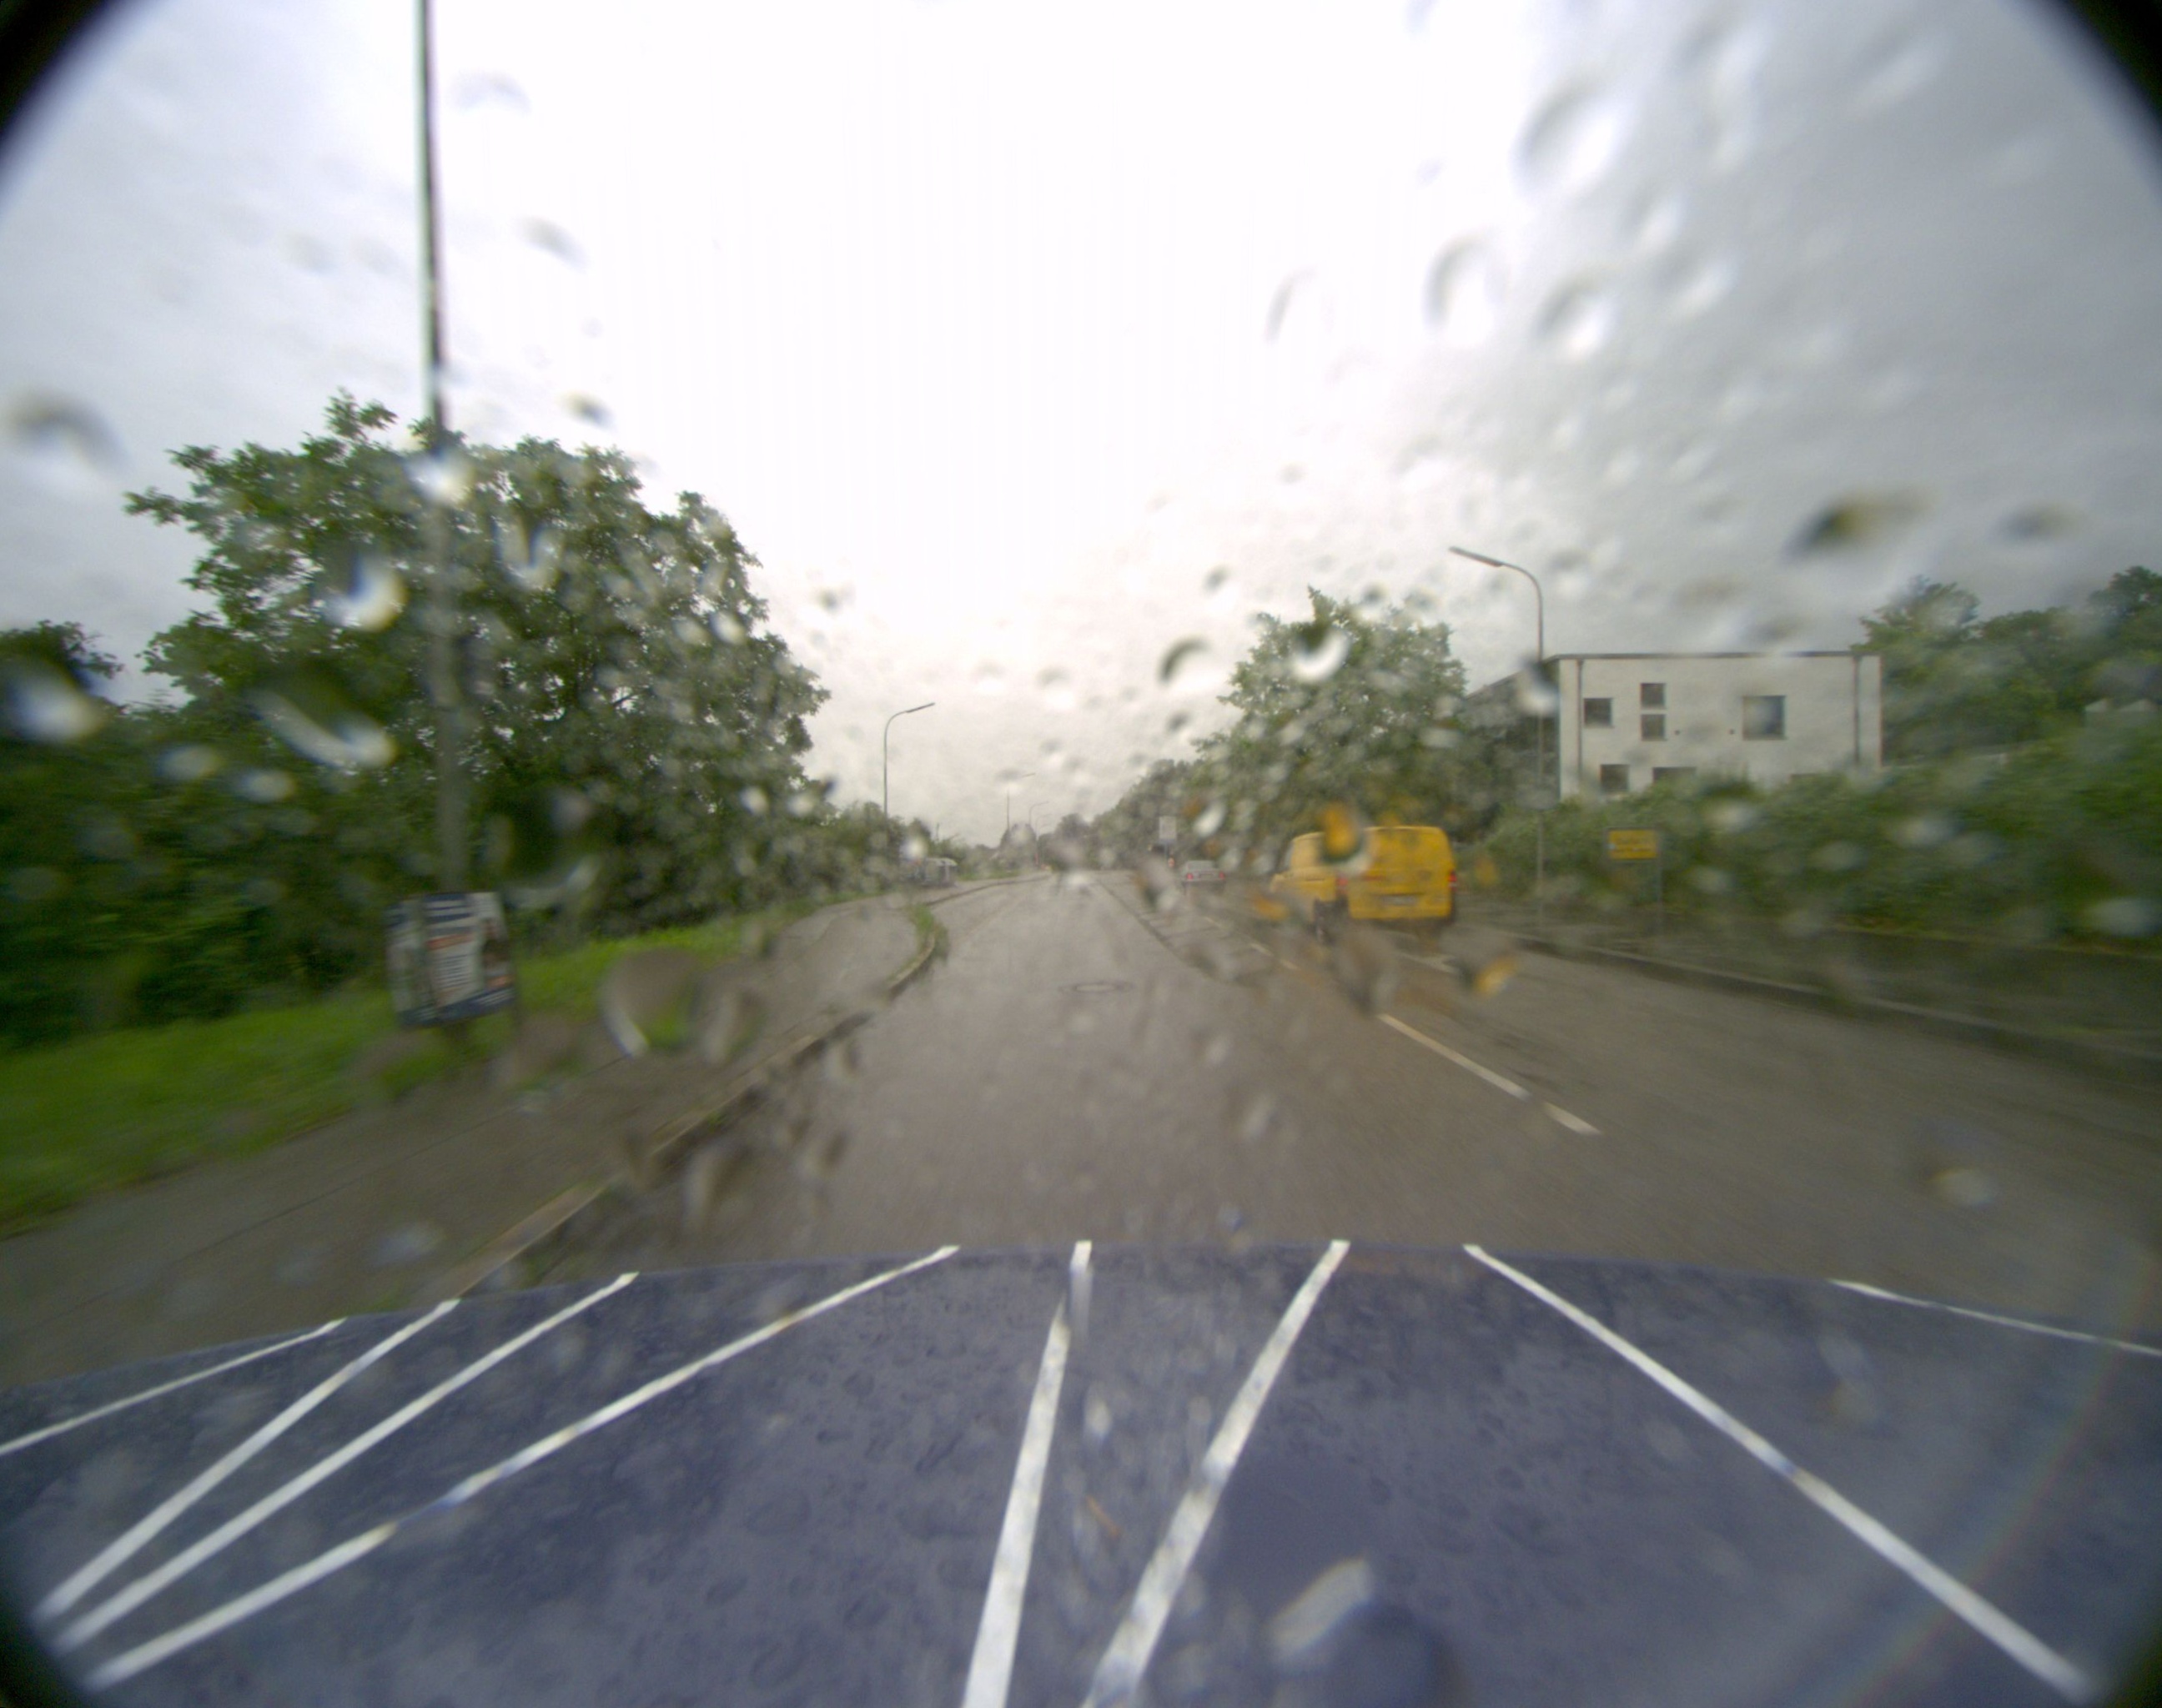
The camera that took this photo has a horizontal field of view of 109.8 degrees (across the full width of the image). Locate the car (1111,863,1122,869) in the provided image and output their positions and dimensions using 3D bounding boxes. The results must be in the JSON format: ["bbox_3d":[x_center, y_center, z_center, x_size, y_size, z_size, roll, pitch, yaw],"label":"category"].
[{"bbox_3d":[7.676,2.630,165.525,1.692,1.410,4.740,-1,-1,-5],"label":"car"}]

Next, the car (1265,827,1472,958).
[{"bbox_3d":[4.772,0.568,13.528,1.942,1.860,5.037,-1,0,2],"label":"car"}]

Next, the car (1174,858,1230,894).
[{"bbox_3d":[4.936,0.847,31.454,1.706,1.341,3.905,-1,0,1],"label":"car"}]
